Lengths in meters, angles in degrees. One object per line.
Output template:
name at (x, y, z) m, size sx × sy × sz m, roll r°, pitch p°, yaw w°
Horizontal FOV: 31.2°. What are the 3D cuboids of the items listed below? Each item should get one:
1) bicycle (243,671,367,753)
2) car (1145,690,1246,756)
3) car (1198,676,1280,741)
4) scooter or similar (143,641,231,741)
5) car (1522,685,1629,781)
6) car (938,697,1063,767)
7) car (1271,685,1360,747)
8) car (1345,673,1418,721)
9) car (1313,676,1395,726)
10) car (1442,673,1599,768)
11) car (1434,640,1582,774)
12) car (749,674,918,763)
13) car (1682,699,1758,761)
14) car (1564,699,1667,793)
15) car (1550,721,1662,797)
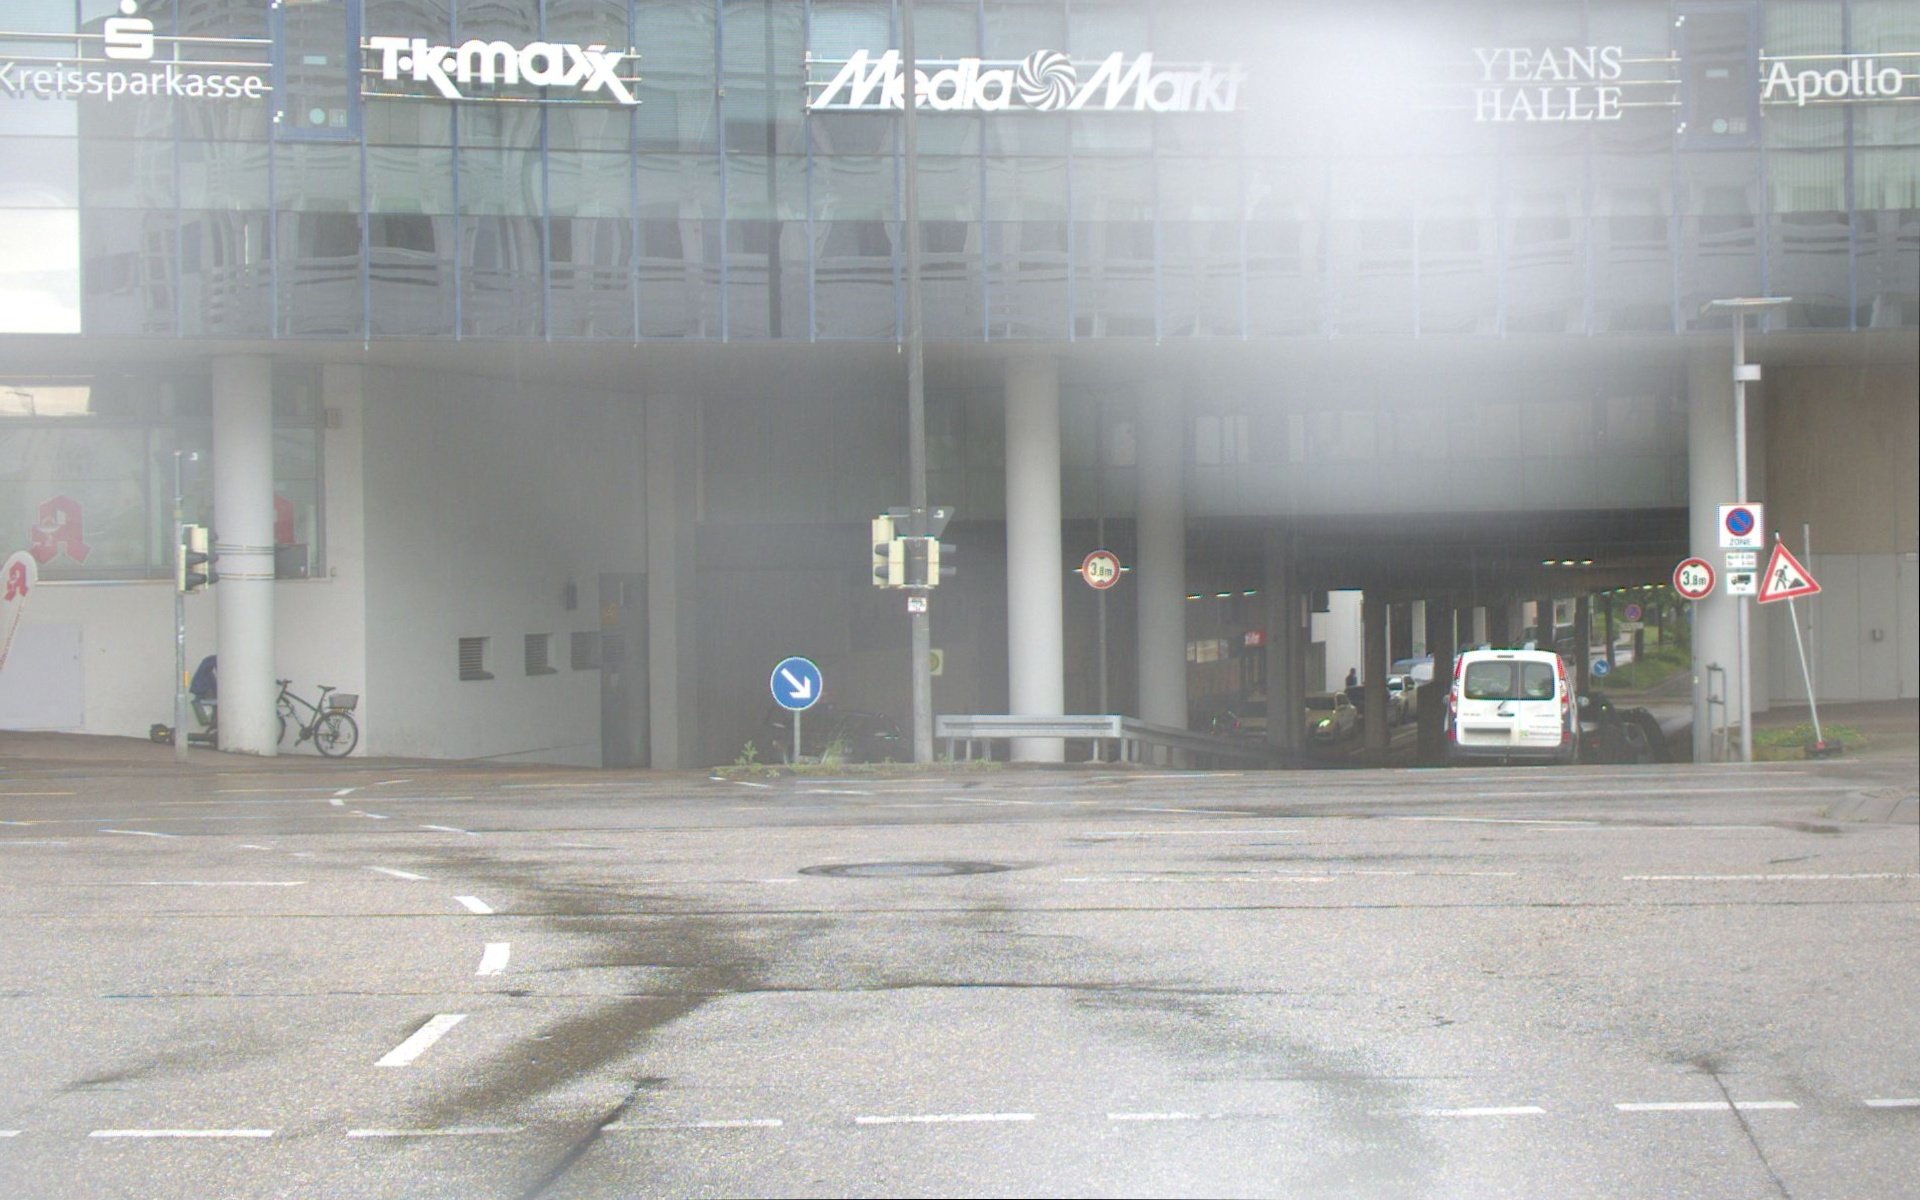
bicycle at (-9.276, 1.590, 48.696) m, size 1.581 × 1.014 × 0.452 m, roll 6°, pitch -2°, yaw -31°
car at (6.273, 3.247, 91.298) m, size 1.916 × 1.582 × 3.936 m, roll -1°, pitch -1°, yaw 15°
car at (7.816, 3.016, 96.097) m, size 1.837 × 1.722 × 3.998 m, roll 0°, pitch 0°, yaw 11°
scooter or similar at (-10.843, 1.274, 48.215) m, size 1.166 × 1.368 × 0.489 m, roll 1°, pitch 0°, yaw -15°
car at (10.938, 2.345, 60.913) m, size 1.634 × 1.606 × 4.260 m, roll -2°, pitch -2°, yaw 13°
car at (0.916, 2.856, 74.436) m, size 1.772 × 1.459 × 3.872 m, roll -1°, pitch -2°, yaw 15°
car at (10.559, 3.422, 101.885) m, size 1.995 × 1.658 × 3.997 m, roll 1°, pitch 0°, yaw 15°
car at (14.078, 3.226, 114.605) m, size 1.994 × 1.459 × 3.998 m, roll -1°, pitch -1°, yaw 13°
car at (12.581, 3.213, 109.522) m, size 1.995 × 1.459 × 3.997 m, roll -1°, pitch -1°, yaw 15°
car at (9.197, 1.995, 56.209) m, size 1.759 × 1.459 × 3.938 m, roll -2°, pitch -3°, yaw 21°
car at (7.794, 1.495, 48.640) m, size 1.926 × 1.791 × 4.294 m, roll -1°, pitch -1°, yaw 10°
car at (-2.253, 2.173, 62.502) m, size 1.894 × 1.465 × 4.023 m, roll -1°, pitch -4°, yaw 16°
car at (20.108, 3.417, 90.909) m, size 1.889 × 1.486 × 3.838 m, roll 1°, pitch 0°, yaw 13°
car at (13.561, 2.993, 70.972) m, size 1.792 × 1.764 × 3.997 m, roll -1°, pitch -1°, yaw 14°
car at (12.437, 3.060, 66.016) m, size 1.781 × 1.396 × 3.996 m, roll -1°, pitch -3°, yaw 15°
